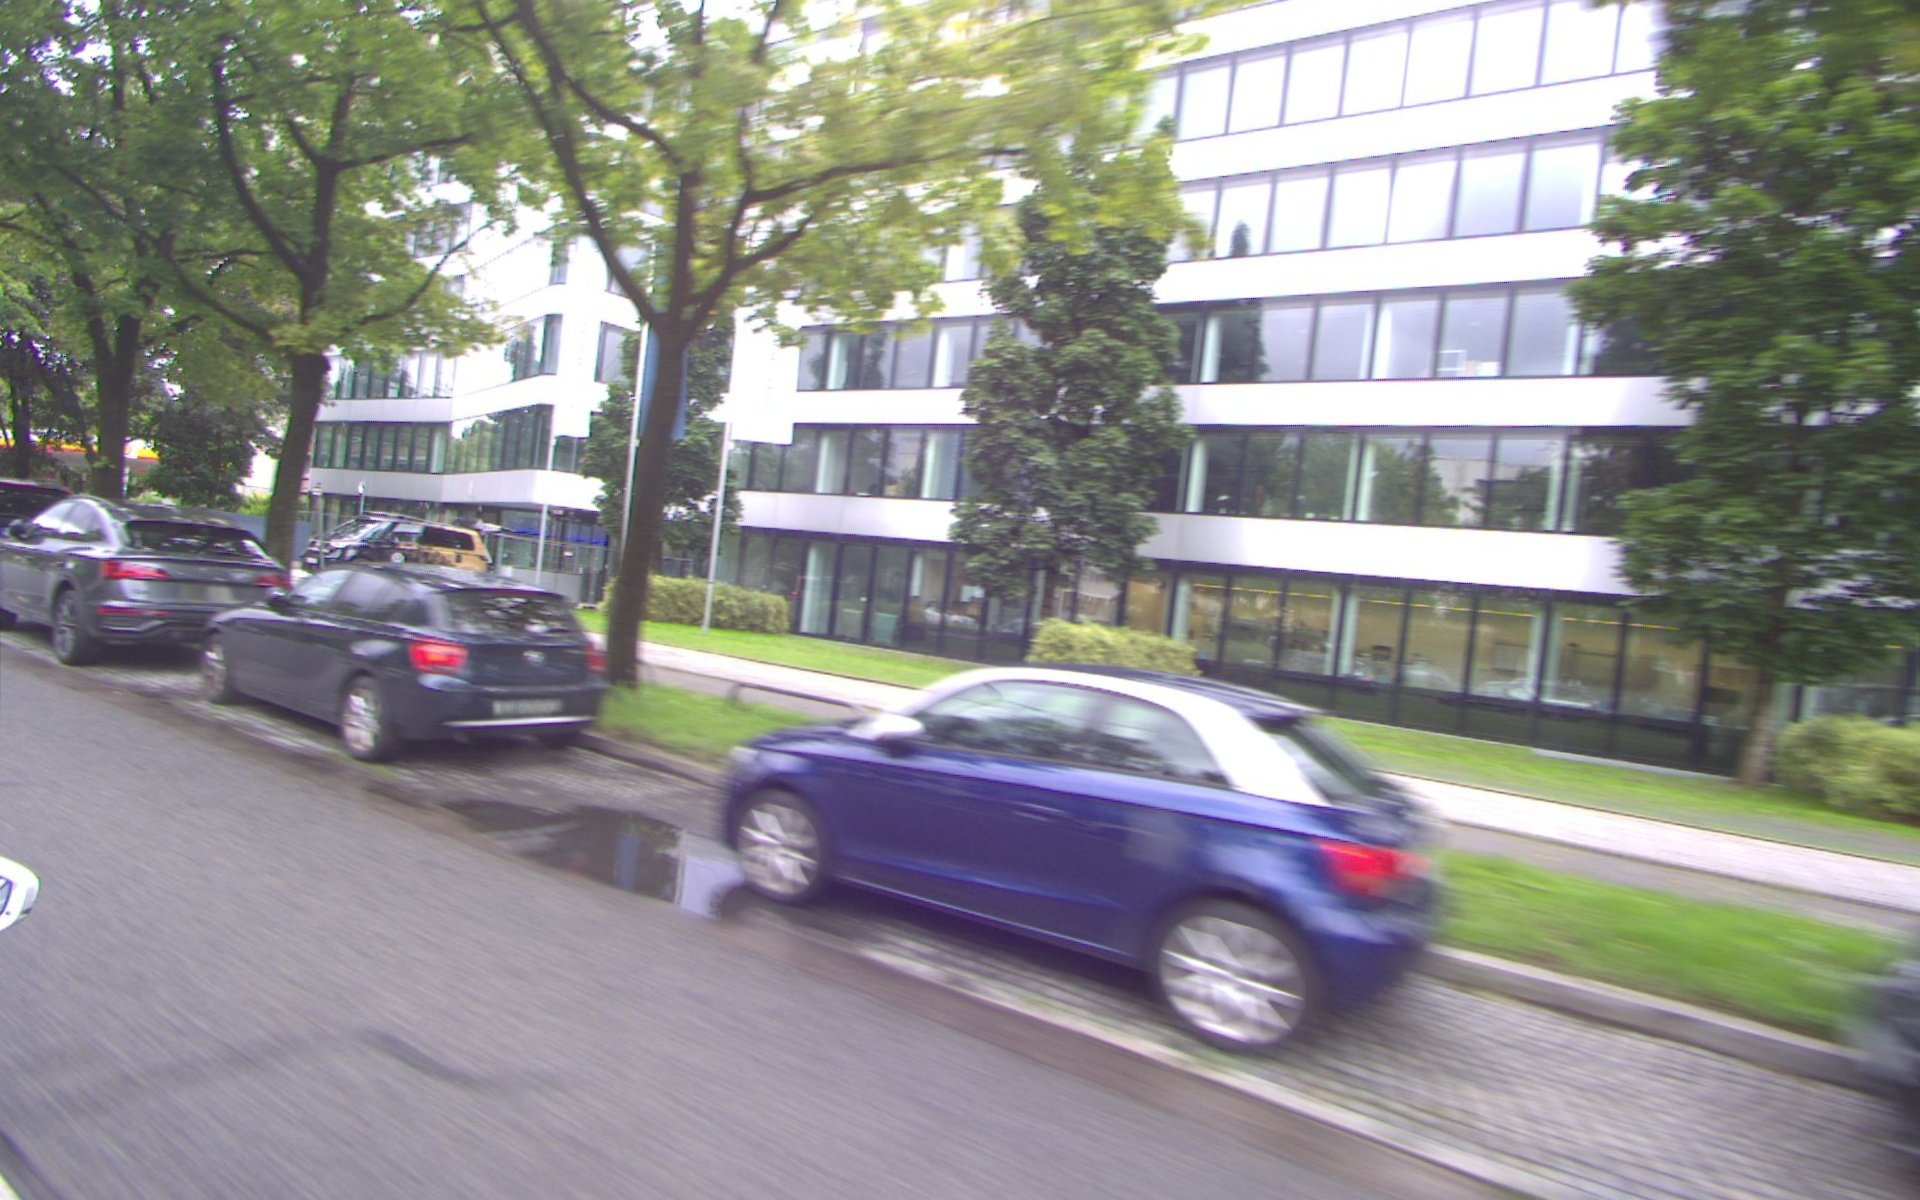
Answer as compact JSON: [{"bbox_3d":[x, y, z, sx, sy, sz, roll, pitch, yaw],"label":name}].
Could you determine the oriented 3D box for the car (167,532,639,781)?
[{"bbox_3d":[-4.955,0.350,8.712,4.441,1.426,1.702,7,1,35],"label":"car"}]

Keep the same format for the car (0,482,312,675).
[{"bbox_3d":[-9.492,-0.323,11.392,4.722,1.697,1.813,7,1,34],"label":"car"}]

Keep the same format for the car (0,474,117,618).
[{"bbox_3d":[-14.446,-0.952,14.604,4.780,1.823,1.894,7,1,32],"label":"car"}]

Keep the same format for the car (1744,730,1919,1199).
[{"bbox_3d":[4.802,1.451,2.733,3.913,1.465,1.703,7,1,32],"label":"car"}]

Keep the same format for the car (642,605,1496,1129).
[{"bbox_3d":[0.419,0.994,5.324,4.053,1.439,1.703,7,1,32],"label":"car"}]

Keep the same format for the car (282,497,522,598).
[{"bbox_3d":[-15.513,-1.388,28.351,2.111,2.109,5.477,7,0,31],"label":"car"}]
